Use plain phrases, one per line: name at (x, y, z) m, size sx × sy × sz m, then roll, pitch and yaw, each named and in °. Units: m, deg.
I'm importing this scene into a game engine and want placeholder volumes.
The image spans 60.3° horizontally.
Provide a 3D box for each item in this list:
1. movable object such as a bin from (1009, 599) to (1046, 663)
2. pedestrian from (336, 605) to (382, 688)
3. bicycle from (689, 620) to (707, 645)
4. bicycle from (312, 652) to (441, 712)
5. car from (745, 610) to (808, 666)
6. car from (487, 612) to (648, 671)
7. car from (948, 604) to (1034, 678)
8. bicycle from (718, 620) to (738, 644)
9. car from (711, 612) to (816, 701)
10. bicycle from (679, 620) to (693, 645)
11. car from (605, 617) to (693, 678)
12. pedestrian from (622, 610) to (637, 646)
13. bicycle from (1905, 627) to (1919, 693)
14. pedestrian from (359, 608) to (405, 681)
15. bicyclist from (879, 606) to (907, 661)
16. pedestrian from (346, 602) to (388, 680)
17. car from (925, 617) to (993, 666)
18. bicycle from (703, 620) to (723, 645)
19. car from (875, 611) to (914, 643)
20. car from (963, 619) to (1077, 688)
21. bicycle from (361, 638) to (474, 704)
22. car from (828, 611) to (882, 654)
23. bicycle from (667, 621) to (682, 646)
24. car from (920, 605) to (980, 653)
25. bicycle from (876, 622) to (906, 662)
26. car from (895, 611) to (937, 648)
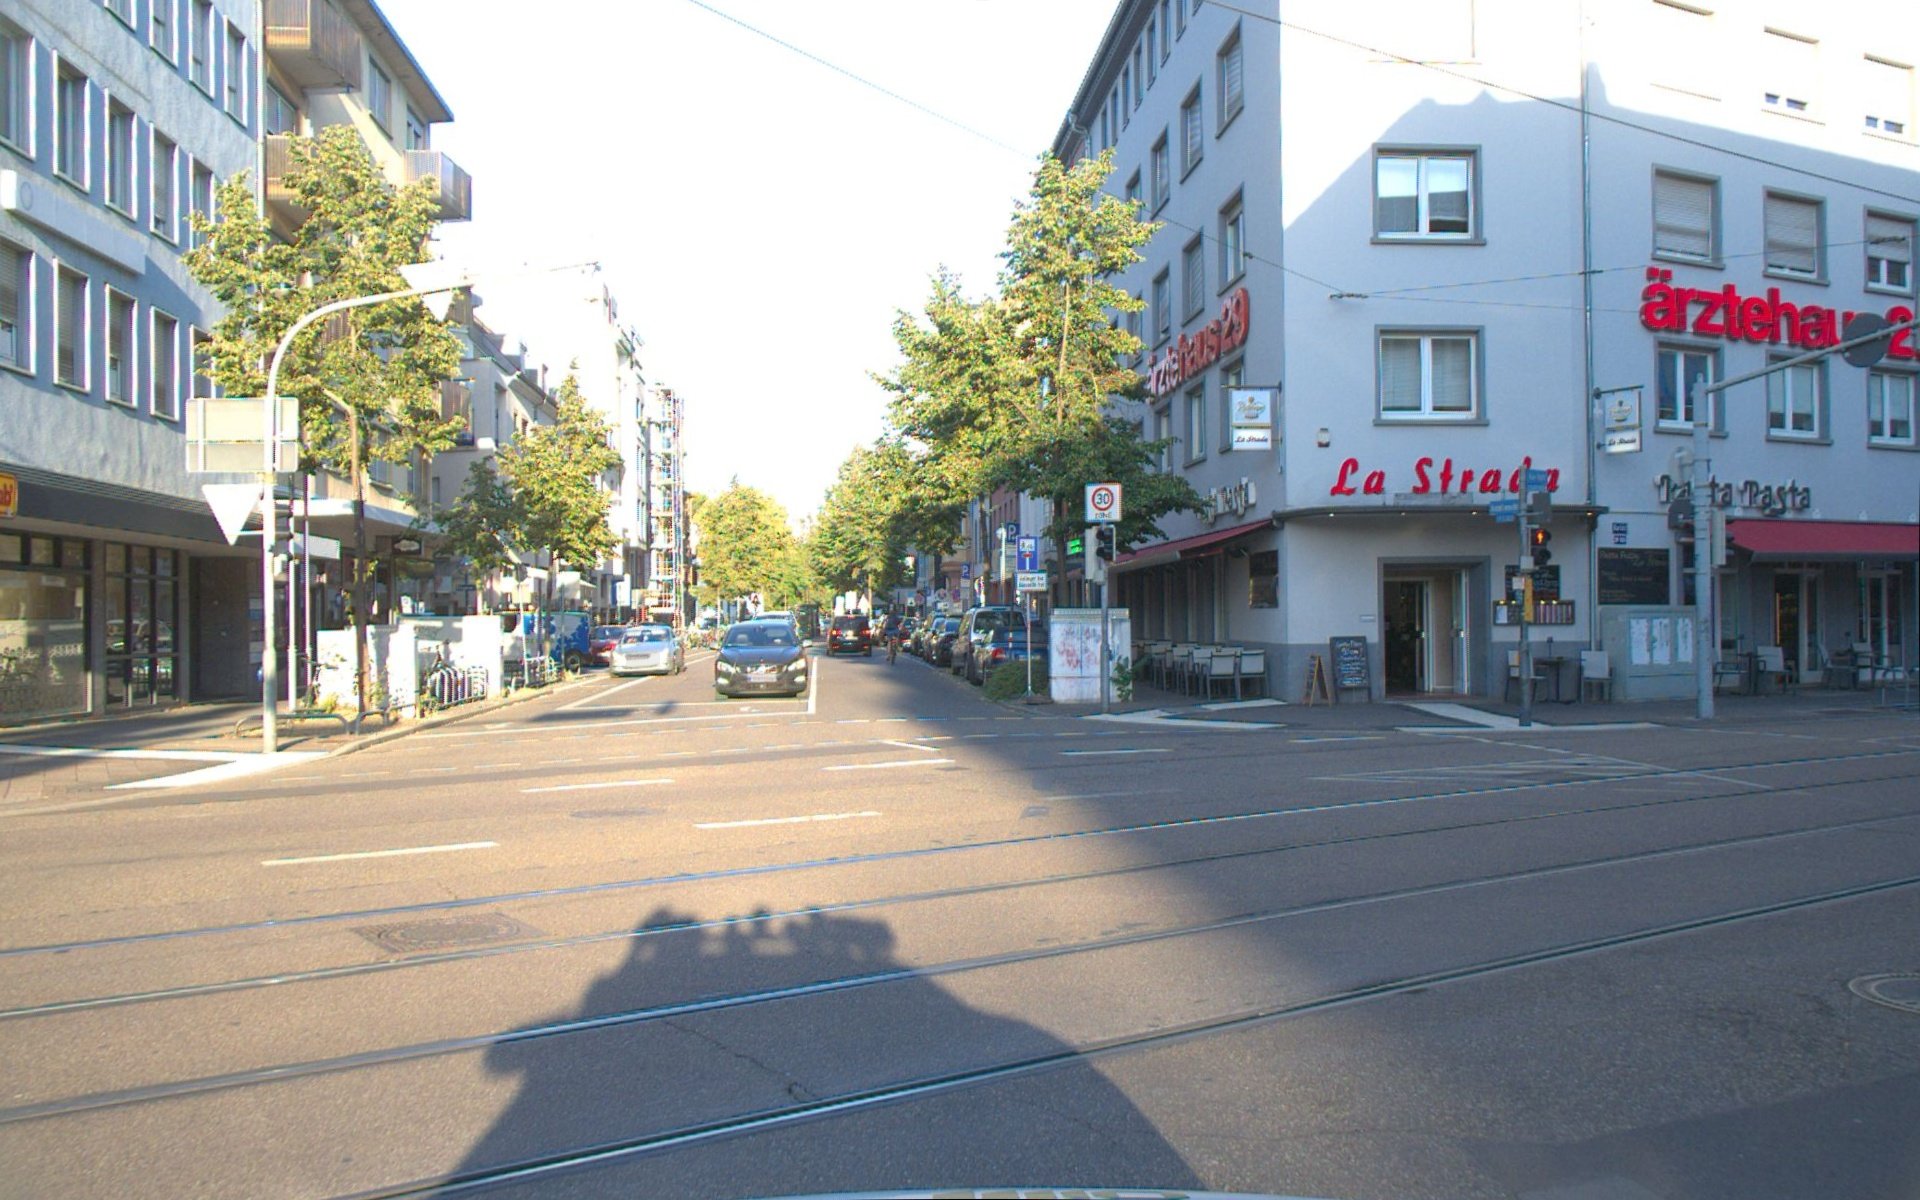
movable object such as a bin at (1.916, 0.881, 46.890) m, size 0.819 × 1.805 × 1.203 m, roll 1°, pitch -2°, yaw -9°
pedestrian at (-13.915, 1.069, 38.319) m, size 0.751 × 1.880 × 0.743 m, roll 0°, pitch 0°, yaw 5°
bicycle at (-15.246, 1.904, 96.248) m, size 0.767 × 1.397 × 3.131 m, roll 1°, pitch -1°, yaw -13°
bicycle at (-9.891, 1.390, 28.086) m, size 1.972 × 1.009 × 0.490 m, roll 1°, pitch -2°, yaw -9°
car at (-5.915, 1.241, 53.453) m, size 1.903 × 1.674 × 4.732 m, roll -2°, pitch -1°, yaw -6°
car at (-12.827, 1.365, 54.126) m, size 4.812 × 1.860 × 1.980 m, roll 1°, pitch -2°, yaw -29°
car at (0.753, 1.024, 42.883) m, size 1.623 × 1.809 × 4.004 m, roll 1°, pitch 0°, yaw -8°
bicycle at (-13.571, 1.869, 96.678) m, size 0.830 × 1.374 × 3.176 m, roll -1°, pitch -1°, yaw -13°
car at (-3.939, 1.063, 33.141) m, size 1.921 × 1.574 × 4.502 m, roll -1°, pitch 0°, yaw -7°
bicycle at (-15.913, 1.909, 96.066) m, size 0.575 × 1.420 × 3.150 m, roll 1°, pitch -1°, yaw -13°
car at (-8.919, 1.353, 47.715) m, size 1.955 × 1.538 × 4.504 m, roll -3°, pitch -1°, yaw -5°
pedestrian at (-16.812, 1.436, 84.146) m, size 0.704 × 1.798 × 0.692 m, roll 1°, pitch -2°, yaw -13°
bicycle at (18.378, 1.104, 29.853) m, size 0.647 × 1.214 × 2.269 m, roll 2°, pitch -2°, yaw -33°
pedestrian at (-13.723, 1.050, 39.286) m, size 0.755 × 1.706 × 0.740 m, roll -1°, pitch -1°, yaw 37°
bicyclist at (-2.142, 1.058, 52.695) m, size 0.766 × 1.726 × 1.005 m, roll -1°, pitch -1°, yaw -7°
pedestrian at (-14.334, 0.989, 39.992) m, size 0.726 × 1.851 × 0.813 m, roll -1°, pitch 0°, yaw -3°
car at (-0.065, 1.282, 52.239) m, size 1.719 × 1.445 × 4.504 m, roll 1°, pitch 0°, yaw -6°
bicycle at (-14.429, 1.900, 96.462) m, size 0.877 × 1.420 × 3.155 m, roll 0°, pitch -1°, yaw -13°
car at (-3.694, 1.504, 92.674) m, size 1.790 × 1.725 × 4.360 m, roll 1°, pitch -1°, yaw -8°
car at (1.255, 1.133, 36.486) m, size 1.900 × 1.400 × 4.176 m, roll 1°, pitch -1°, yaw -6°
bicycle at (-10.345, 1.350, 31.571) m, size 1.970 × 1.240 × 0.491 m, roll 1°, pitch -2°, yaw -5°
car at (-4.177, 1.317, 66.422) m, size 1.953 × 1.630 × 4.508 m, roll 1°, pitch -1°, yaw -1°
bicycle at (-16.558, 1.941, 95.897) m, size 0.708 × 1.420 × 3.142 m, roll 1°, pitch -1°, yaw -13°
car at (-0.440, 1.130, 64.456) m, size 1.847 × 1.785 × 5.052 m, roll 1°, pitch -1°, yaw -6°
bicycle at (-2.204, 1.339, 52.778) m, size 0.766 × 1.225 × 2.017 m, roll -1°, pitch -1°, yaw -7°
car at (-2.142, 1.417, 79.504) m, size 1.776 × 1.697 × 4.201 m, roll 1°, pitch -1°, yaw -4°
